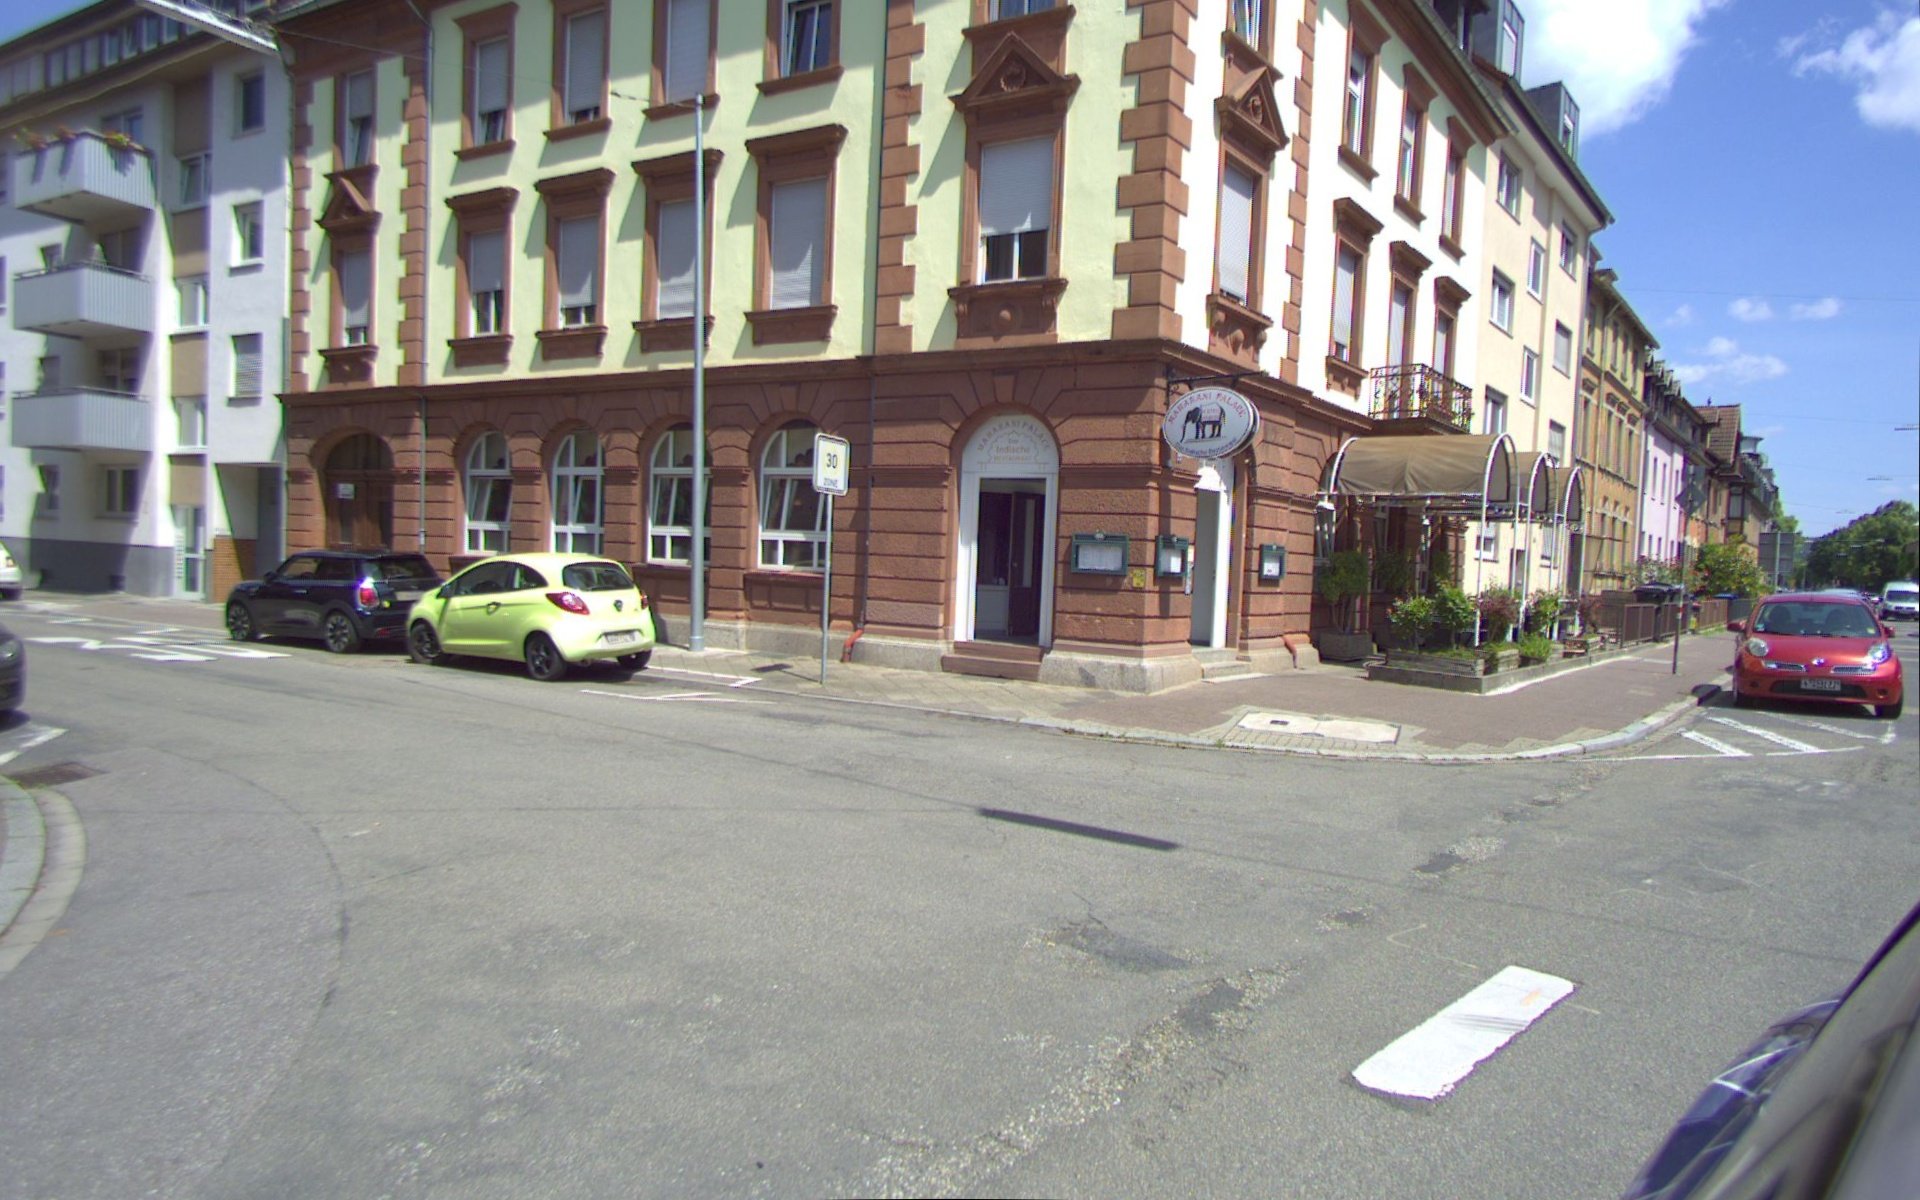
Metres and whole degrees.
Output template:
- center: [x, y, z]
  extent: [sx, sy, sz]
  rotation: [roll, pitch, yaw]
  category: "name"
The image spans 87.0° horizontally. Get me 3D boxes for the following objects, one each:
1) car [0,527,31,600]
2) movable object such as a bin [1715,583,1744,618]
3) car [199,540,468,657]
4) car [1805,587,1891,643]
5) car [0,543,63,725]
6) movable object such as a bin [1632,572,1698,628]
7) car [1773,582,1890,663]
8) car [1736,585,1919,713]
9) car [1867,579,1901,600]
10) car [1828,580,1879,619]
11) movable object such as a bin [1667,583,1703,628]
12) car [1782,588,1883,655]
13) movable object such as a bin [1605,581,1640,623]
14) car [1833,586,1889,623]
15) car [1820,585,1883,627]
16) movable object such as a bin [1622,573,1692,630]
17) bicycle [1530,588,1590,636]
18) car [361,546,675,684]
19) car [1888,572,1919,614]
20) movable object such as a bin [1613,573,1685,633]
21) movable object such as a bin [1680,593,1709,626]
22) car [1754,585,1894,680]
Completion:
- center: [-21.794, -0.804, 21.518]
  extent: [3.962, 1.497, 1.716]
  rotation: [3, 4, 27]
  category: "car"
- center: [29.163, 0.021, 38.350]
  extent: [0.750, 1.257, 0.864]
  rotation: [4, 3, 41]
  category: "movable object such as a bin"
- center: [-9.537, -0.125, 15.372]
  extent: [3.965, 1.497, 1.787]
  rotation: [3, 5, 29]
  category: "car"
- center: [25.740, 0.371, 29.435]
  extent: [1.755, 1.497, 4.354]
  rotation: [1, 1, 40]
  category: "car"
- center: [-9.314, 0.184, 8.294]
  extent: [3.970, 1.381, 1.895]
  rotation: [3, 2, 32]
  category: "car"
- center: [19.448, -0.020, 27.920]
  extent: [1.282, 1.427, 1.284]
  rotation: [4, 3, 43]
  category: "movable object such as a bin"
- center: [18.775, 0.410, 21.747]
  extent: [1.757, 1.571, 4.003]
  rotation: [1, 1, 43]
  category: "car"
- center: [11.781, 0.547, 13.872]
  extent: [1.754, 1.497, 3.731]
  rotation: [1, 1, 39]
  category: "car"
- center: [71.883, -0.845, 78.772]
  extent: [1.900, 1.516, 4.419]
  rotation: [3, 3, 42]
  category: "car"
- center: [41.379, -0.042, 46.912]
  extent: [1.703, 1.731, 3.873]
  rotation: [1, 1, 41]
  category: "car"
- center: [20.574, 0.146, 28.733]
  extent: [0.721, 1.202, 0.736]
  rotation: [4, 3, 41]
  category: "movable object such as a bin"
- center: [21.468, 0.455, 24.849]
  extent: [1.757, 1.497, 3.870]
  rotation: [1, 1, 43]
  category: "car"
- center: [19.434, 0.038, 29.706]
  extent: [0.721, 1.182, 0.736]
  rotation: [4, 3, 41]
  category: "movable object such as a bin"
- center: [37.892, 0.149, 42.625]
  extent: [1.703, 1.497, 3.873]
  rotation: [1, 1, 41]
  category: "car"
- center: [33.743, 0.203, 38.360]
  extent: [1.703, 1.497, 3.873]
  rotation: [1, 1, 41]
  category: "car"
- center: [18.541, 0.029, 26.921]
  extent: [1.282, 1.413, 1.343]
  rotation: [4, 3, 43]
  category: "movable object such as a bin"
- center: [13.257, 0.255, 22.353]
  extent: [1.599, 0.995, 0.552]
  rotation: [0, 2, -37]
  category: "bicycle"
- center: [-5.874, 0.076, 13.393]
  extent: [3.965, 1.497, 1.787]
  rotation: [3, 5, 29]
  category: "car"
- center: [55.474, -0.420, 58.887]
  extent: [1.899, 2.302, 5.588]
  rotation: [3, 2, 41]
  category: "car"
- center: [17.616, 0.054, 25.877]
  extent: [1.282, 1.413, 1.391]
  rotation: [4, 3, 43]
  category: "movable object such as a bin"
- center: [21.616, 0.269, 29.782]
  extent: [0.624, 0.939, 0.603]
  rotation: [4, 3, 41]
  category: "movable object such as a bin"
- center: [15.536, 0.488, 18.140]
  extent: [1.757, 1.497, 3.870]
  rotation: [1, 1, 43]
  category: "car"
